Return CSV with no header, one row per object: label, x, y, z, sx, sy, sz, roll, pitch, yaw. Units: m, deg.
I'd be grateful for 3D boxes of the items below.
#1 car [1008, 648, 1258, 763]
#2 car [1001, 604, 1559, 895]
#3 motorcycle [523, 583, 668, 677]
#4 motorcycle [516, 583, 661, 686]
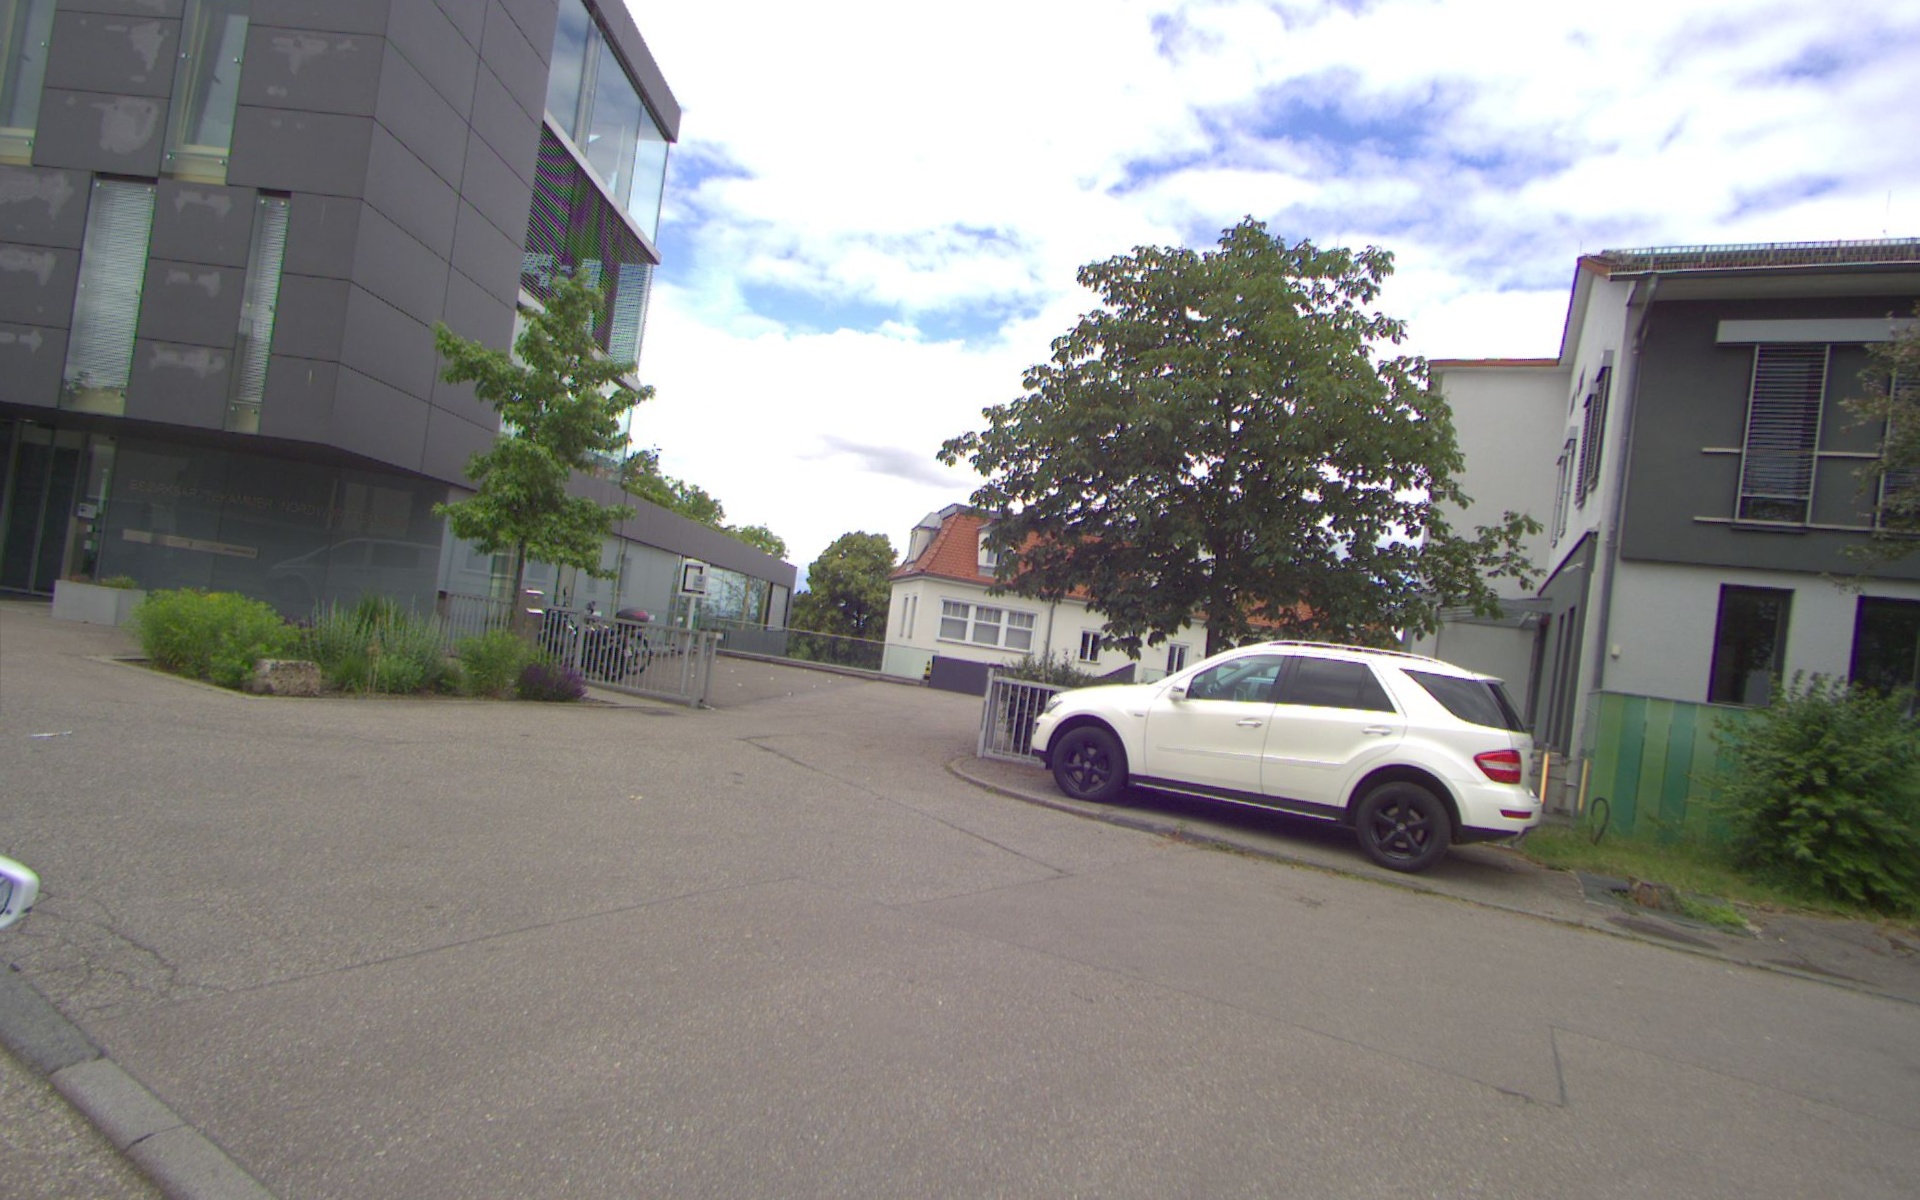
car,3.171,1.874,18.491,4.142,1.501,1.621,5,-2,25
car,2.960,1.239,9.684,4.643,1.778,1.856,7,-2,31
motorcycle,-6.773,0.565,18.702,2.416,1.409,0.671,7,-1,13
motorcycle,-6.174,0.574,16.729,2.084,1.409,0.671,7,-1,13
